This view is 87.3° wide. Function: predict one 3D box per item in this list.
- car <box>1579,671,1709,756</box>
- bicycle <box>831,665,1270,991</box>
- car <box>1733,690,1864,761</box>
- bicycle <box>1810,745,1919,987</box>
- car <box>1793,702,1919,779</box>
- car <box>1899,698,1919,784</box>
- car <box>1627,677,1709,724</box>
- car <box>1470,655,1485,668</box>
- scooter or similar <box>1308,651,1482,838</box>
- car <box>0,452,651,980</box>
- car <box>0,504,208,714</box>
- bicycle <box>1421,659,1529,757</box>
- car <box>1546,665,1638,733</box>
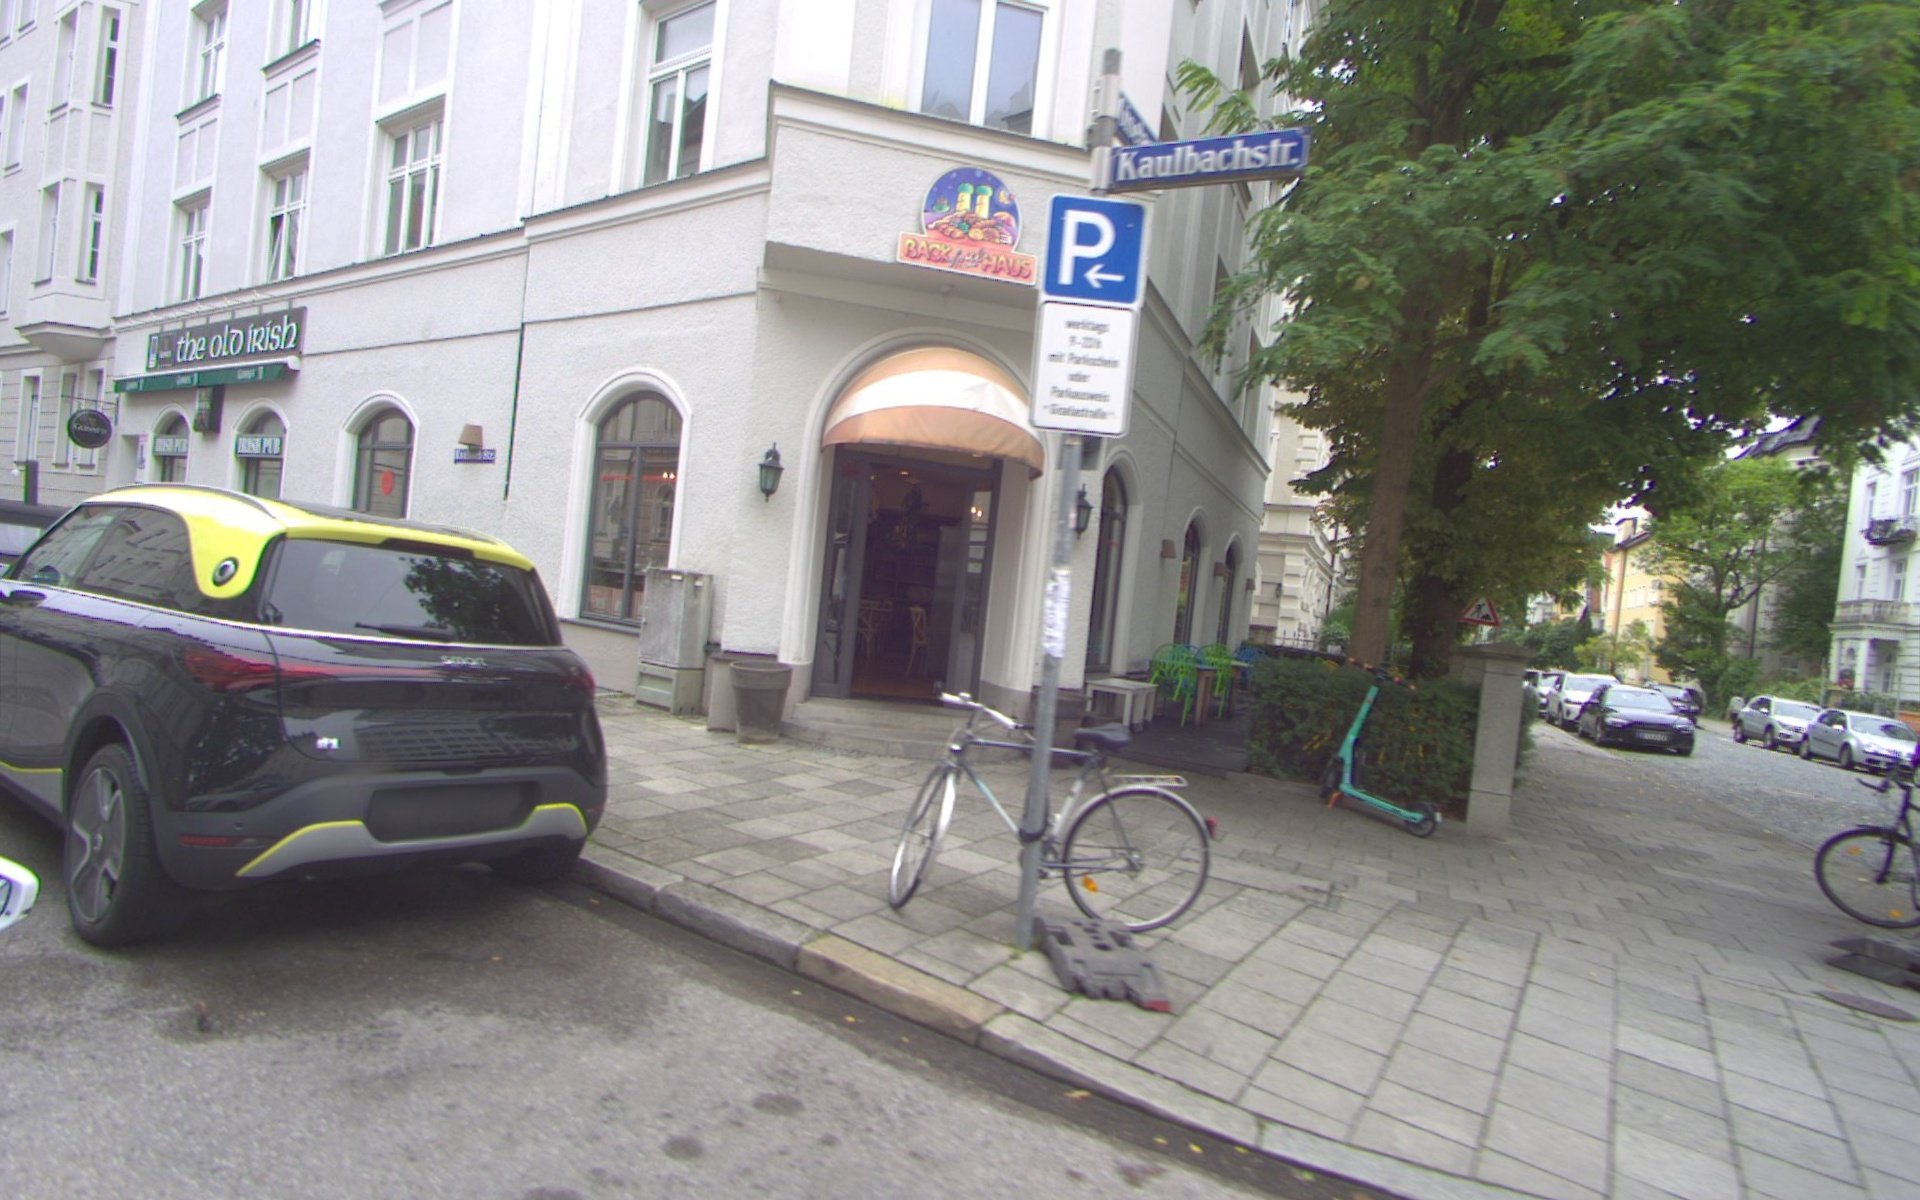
[{"bbox_3d":[16.466,2.659,24.428,1.824,1.635,3.996,5,0,25],"label":"car"},{"bbox_3d":[0.405,0.959,4.592,1.712,1.078,0.819,7,1,8],"label":"bicycle"},{"bbox_3d":[25.733,3.797,31.045,1.802,1.538,3.997,10,1,23],"label":"car"},{"bbox_3d":[5.746,1.554,6.123,0.676,1.144,2.003,7,1,38],"label":"bicycle"},{"bbox_3d":[23.254,3.565,25.745,1.704,1.426,3.997,10,1,23],"label":"car"},{"bbox_3d":[20.835,3.090,19.833,1.744,1.805,3.793,10,1,19],"label":"car"},{"bbox_3d":[31.563,4.450,44.959,1.964,1.538,3.997,10,1,23],"label":"car"},{"bbox_3d":[93.619,11.089,181.935,1.964,2.039,3.996,7,0,24],"label":"car"},{"bbox_3d":[3.450,1.119,8.072,0.395,1.286,1.173,6,1,-27],"label":"scooter or similar"},{"bbox_3d":[-3.697,0.279,5.061,4.029,1.637,1.839,7,-2,34],"label":"car"},{"bbox_3d":[-7.858,-0.067,8.168,3.437,1.416,1.668,7,-2,34],"label":"car"},{"bbox_3d":[8.803,1.778,17.406,0.947,1.326,3.777,7,0,18],"label":"bicycle"},{"bbox_3d":[18.575,2.849,29.725,1.607,1.638,3.996,7,0,25],"label":"car"}]
